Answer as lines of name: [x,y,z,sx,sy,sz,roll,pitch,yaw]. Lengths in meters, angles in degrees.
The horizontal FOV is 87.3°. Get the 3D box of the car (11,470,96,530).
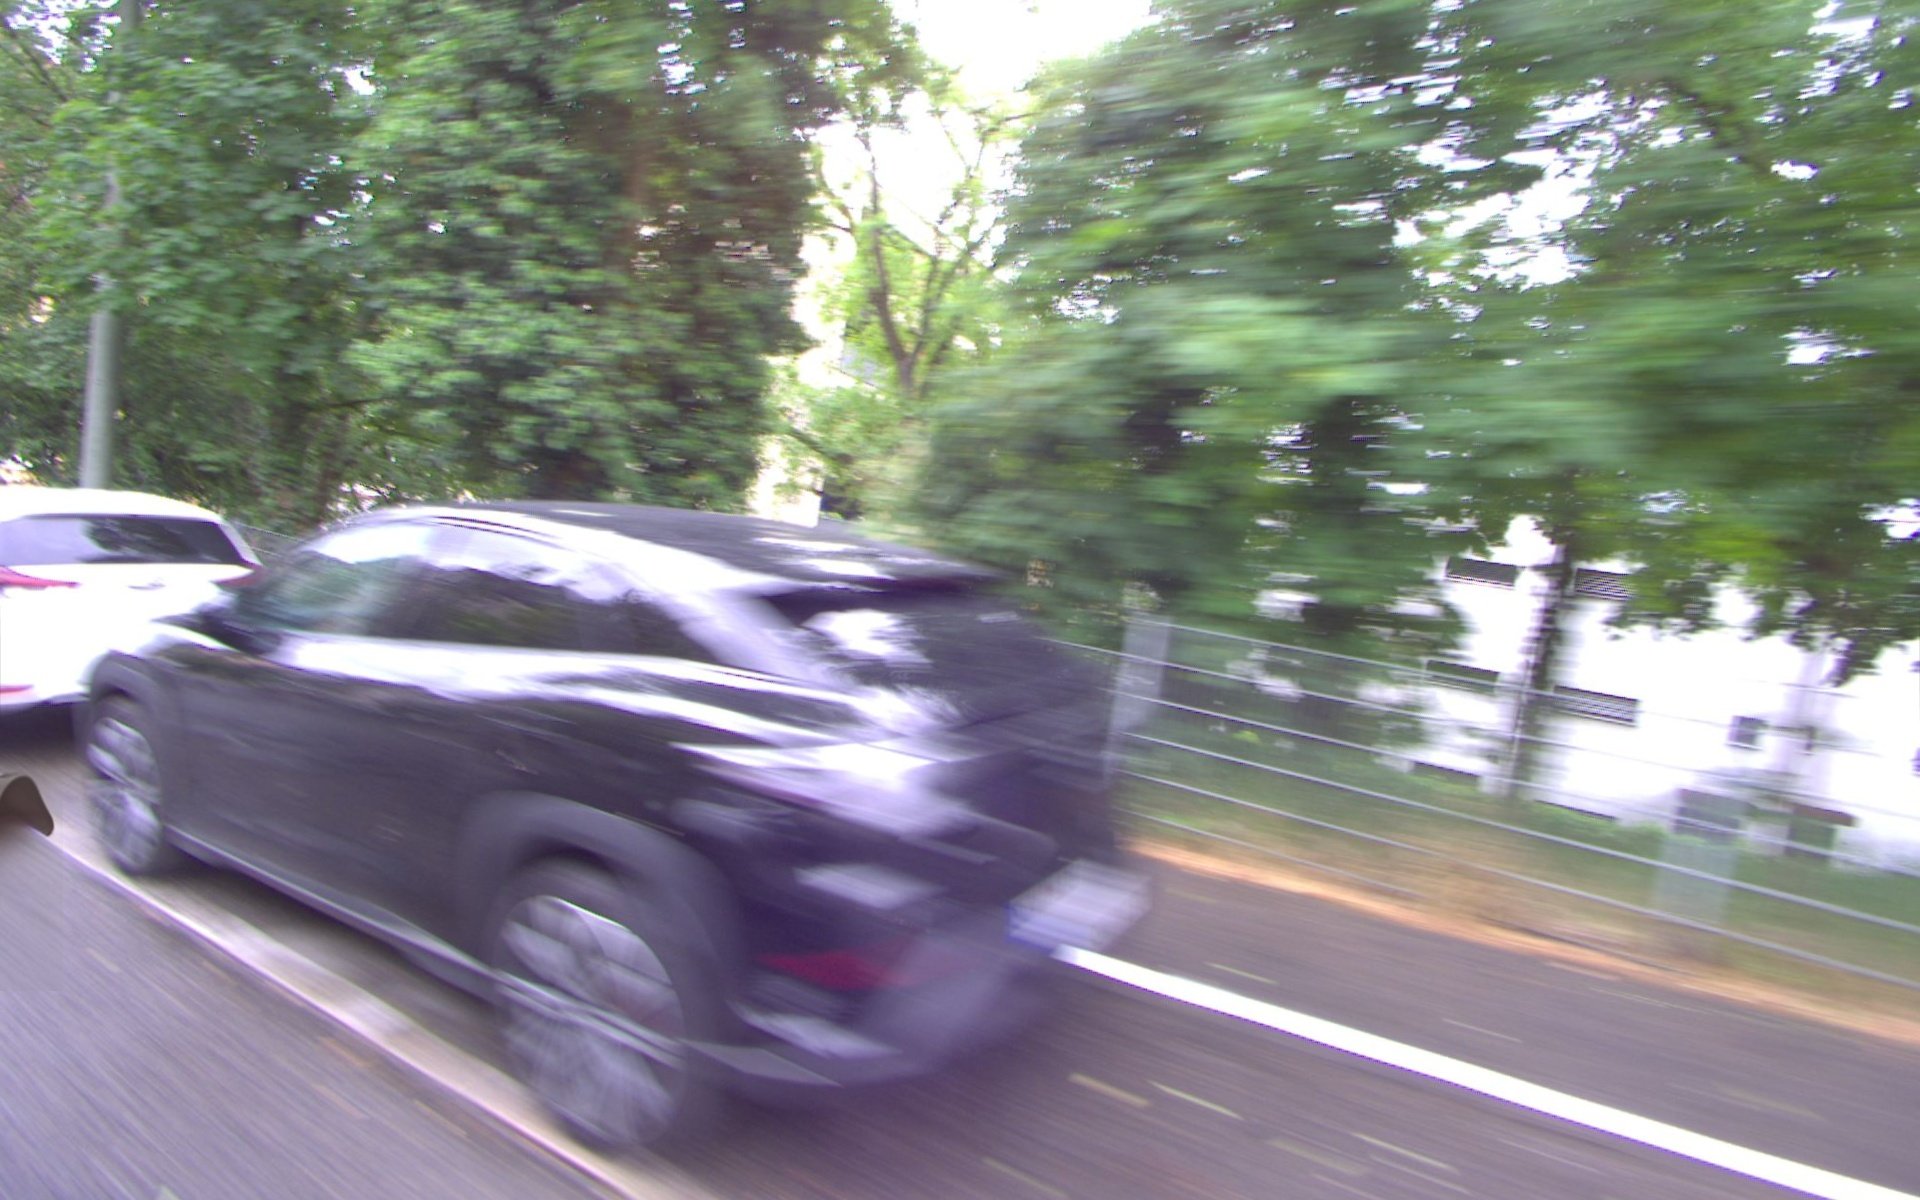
car: [-31.572,-3.531,35.133,1.768,1.688,3.744,8,2,-38]

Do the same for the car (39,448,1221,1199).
car: [-1.507,0.383,3.942,4.410,1.631,1.975,6,3,32]

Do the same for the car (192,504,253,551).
car: [-29.537,-2.920,40.384,1.767,1.448,3.746,8,2,-36]

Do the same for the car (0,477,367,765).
car: [-6.246,-0.076,6.862,4.043,1.473,1.976,6,4,28]
